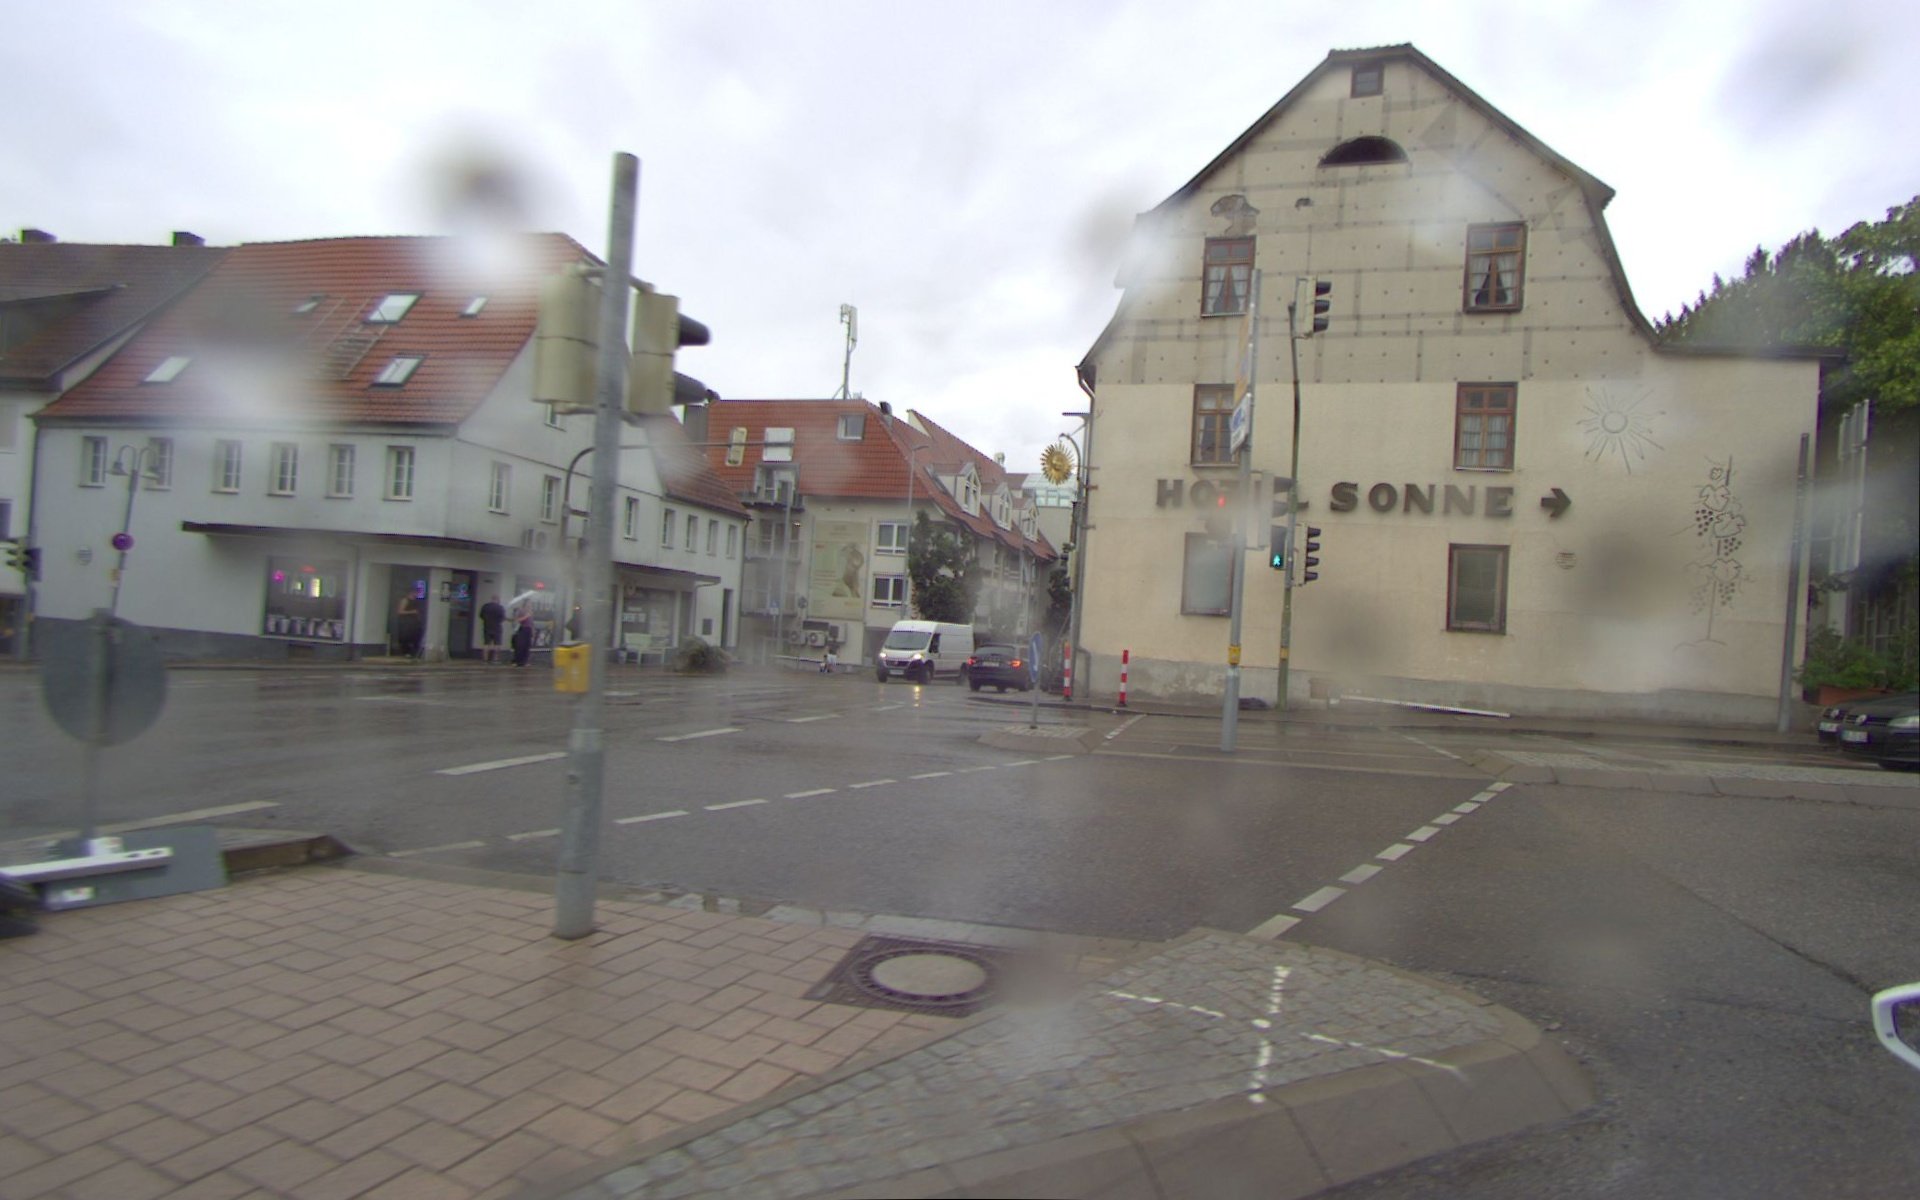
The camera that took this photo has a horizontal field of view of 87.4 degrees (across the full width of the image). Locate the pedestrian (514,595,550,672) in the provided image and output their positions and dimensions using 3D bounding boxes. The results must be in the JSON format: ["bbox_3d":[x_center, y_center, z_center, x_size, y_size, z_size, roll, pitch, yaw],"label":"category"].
[{"bbox_3d":[-10.755,0.832,25.256,0.525,1.896,0.635,1,0,13],"label":"pedestrian"}]

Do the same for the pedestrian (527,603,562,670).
[{"bbox_3d":[-11.417,0.992,27.608,0.582,1.798,0.635,1,0,13],"label":"pedestrian"}]

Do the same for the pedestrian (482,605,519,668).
[{"bbox_3d":[-11.923,0.939,26.099,0.582,1.580,0.635,1,0,13],"label":"pedestrian"}]

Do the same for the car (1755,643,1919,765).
[{"bbox_3d":[13.551,1.423,13.492,4.102,1.538,1.780,1,-4,16],"label":"car"}]

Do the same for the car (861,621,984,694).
[{"bbox_3d":[-1.342,2.202,40.355,2.545,2.661,6.557,0,-1,21],"label":"car"}]

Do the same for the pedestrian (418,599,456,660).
[{"bbox_3d":[-13.768,0.774,26.463,0.582,1.580,0.635,1,0,13],"label":"pedestrian"}]

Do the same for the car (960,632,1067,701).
[{"bbox_3d":[1.745,1.977,31.086,1.913,1.588,4.414,3,3,22],"label":"car"}]

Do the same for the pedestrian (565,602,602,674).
[{"bbox_3d":[-10.129,1.006,27.012,0.592,1.892,0.749,1,0,13],"label":"pedestrian"}]

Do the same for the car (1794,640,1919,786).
[{"bbox_3d":[12.106,1.275,10.968,4.229,1.524,1.780,1,-3,15],"label":"car"}]
